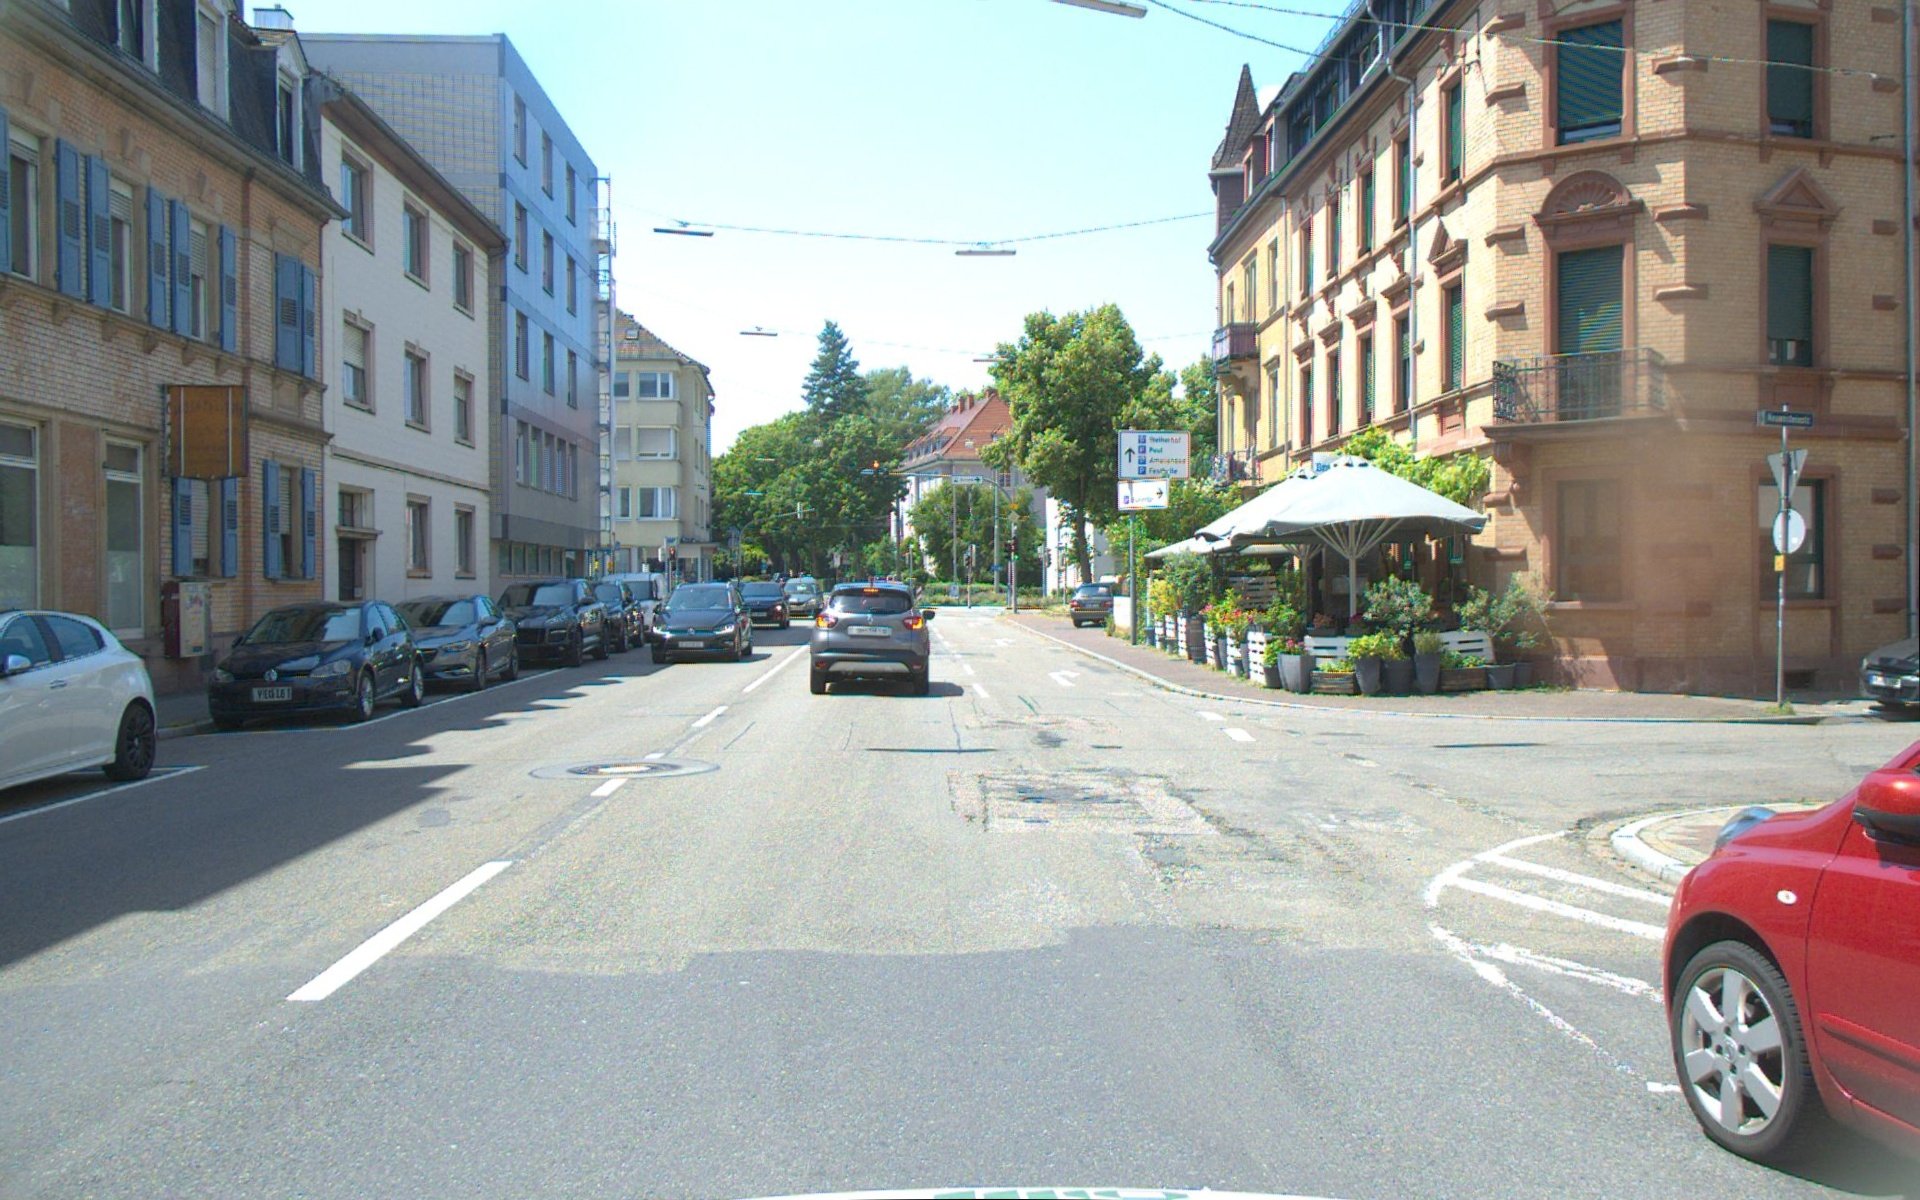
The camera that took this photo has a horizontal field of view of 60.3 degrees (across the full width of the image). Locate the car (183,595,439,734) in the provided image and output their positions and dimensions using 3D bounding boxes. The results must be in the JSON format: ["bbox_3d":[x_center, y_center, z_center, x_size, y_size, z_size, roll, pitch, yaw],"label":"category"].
[{"bbox_3d":[-8.042,0.723,20.939,1.829,1.430,4.325,-4,1,-6],"label":"car"}]

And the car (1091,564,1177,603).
[{"bbox_3d":[9.195,-0.869,87.270,4.456,2.011,1.973,-1,1,-38],"label":"car"}]

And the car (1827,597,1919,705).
[{"bbox_3d":[14.325,0.669,22.817,3.918,1.388,1.910,0,1,-13],"label":"car"}]

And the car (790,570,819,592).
[{"bbox_3d":[-13.948,-1.723,148.629,1.960,1.839,3.984,1,1,-15],"label":"car"}]

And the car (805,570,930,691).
[{"bbox_3d":[-1.345,0.388,24.989,1.718,1.660,3.999,1,1,-2],"label":"car"}]

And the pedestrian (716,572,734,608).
[{"bbox_3d":[-13.019,-0.539,91.601,0.919,1.965,0.973,0,0,-15],"label":"pedestrian"}]

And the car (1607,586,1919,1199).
[{"bbox_3d":[3.145,0.755,3.562,1.723,1.504,3.780,2,0,-5],"label":"car"}]

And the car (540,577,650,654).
[{"bbox_3d":[-8.603,0.318,39.361,1.848,1.669,4.659,-1,1,-4],"label":"car"}]

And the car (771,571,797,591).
[{"bbox_3d":[-17.222,-1.880,161.655,1.960,1.939,3.984,1,1,-15],"label":"car"}]

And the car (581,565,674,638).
[{"bbox_3d":[-9.115,0.015,45.687,1.876,1.857,4.785,-1,1,-4],"label":"car"}]

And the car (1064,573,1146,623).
[{"bbox_3d":[5.174,-0.090,58.383,1.795,1.575,5.160,0,2,17],"label":"car"}]

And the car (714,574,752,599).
[{"bbox_3d":[-14.858,-0.867,108.168,1.961,1.545,3.983,1,0,-16],"label":"car"}]

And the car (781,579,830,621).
[{"bbox_3d":[-6.077,-0.027,65.346,1.667,1.602,4.310,-1,1,-2],"label":"car"}]

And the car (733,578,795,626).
[{"bbox_3d":[-6.393,0.033,54.219,1.667,1.503,4.132,-1,1,-2],"label":"car"}]

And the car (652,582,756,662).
[{"bbox_3d":[-5.247,0.409,34.394,1.725,1.520,4.243,-1,1,-4],"label":"car"}]

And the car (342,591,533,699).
[{"bbox_3d":[-8.188,0.633,26.381,1.829,1.430,4.832,-4,1,-5],"label":"car"}]

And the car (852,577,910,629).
[{"bbox_3d":[-2.482,0.073,52.772,1.762,1.585,4.036,1,1,-2],"label":"car"}]

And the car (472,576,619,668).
[{"bbox_3d":[-8.212,0.387,33.222,1.847,1.669,4.816,-1,1,-2],"label":"car"}]

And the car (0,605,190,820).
[{"bbox_3d":[-7.626,0.849,12.322,1.828,1.450,4.328,-4,1,-3],"label":"car"}]
